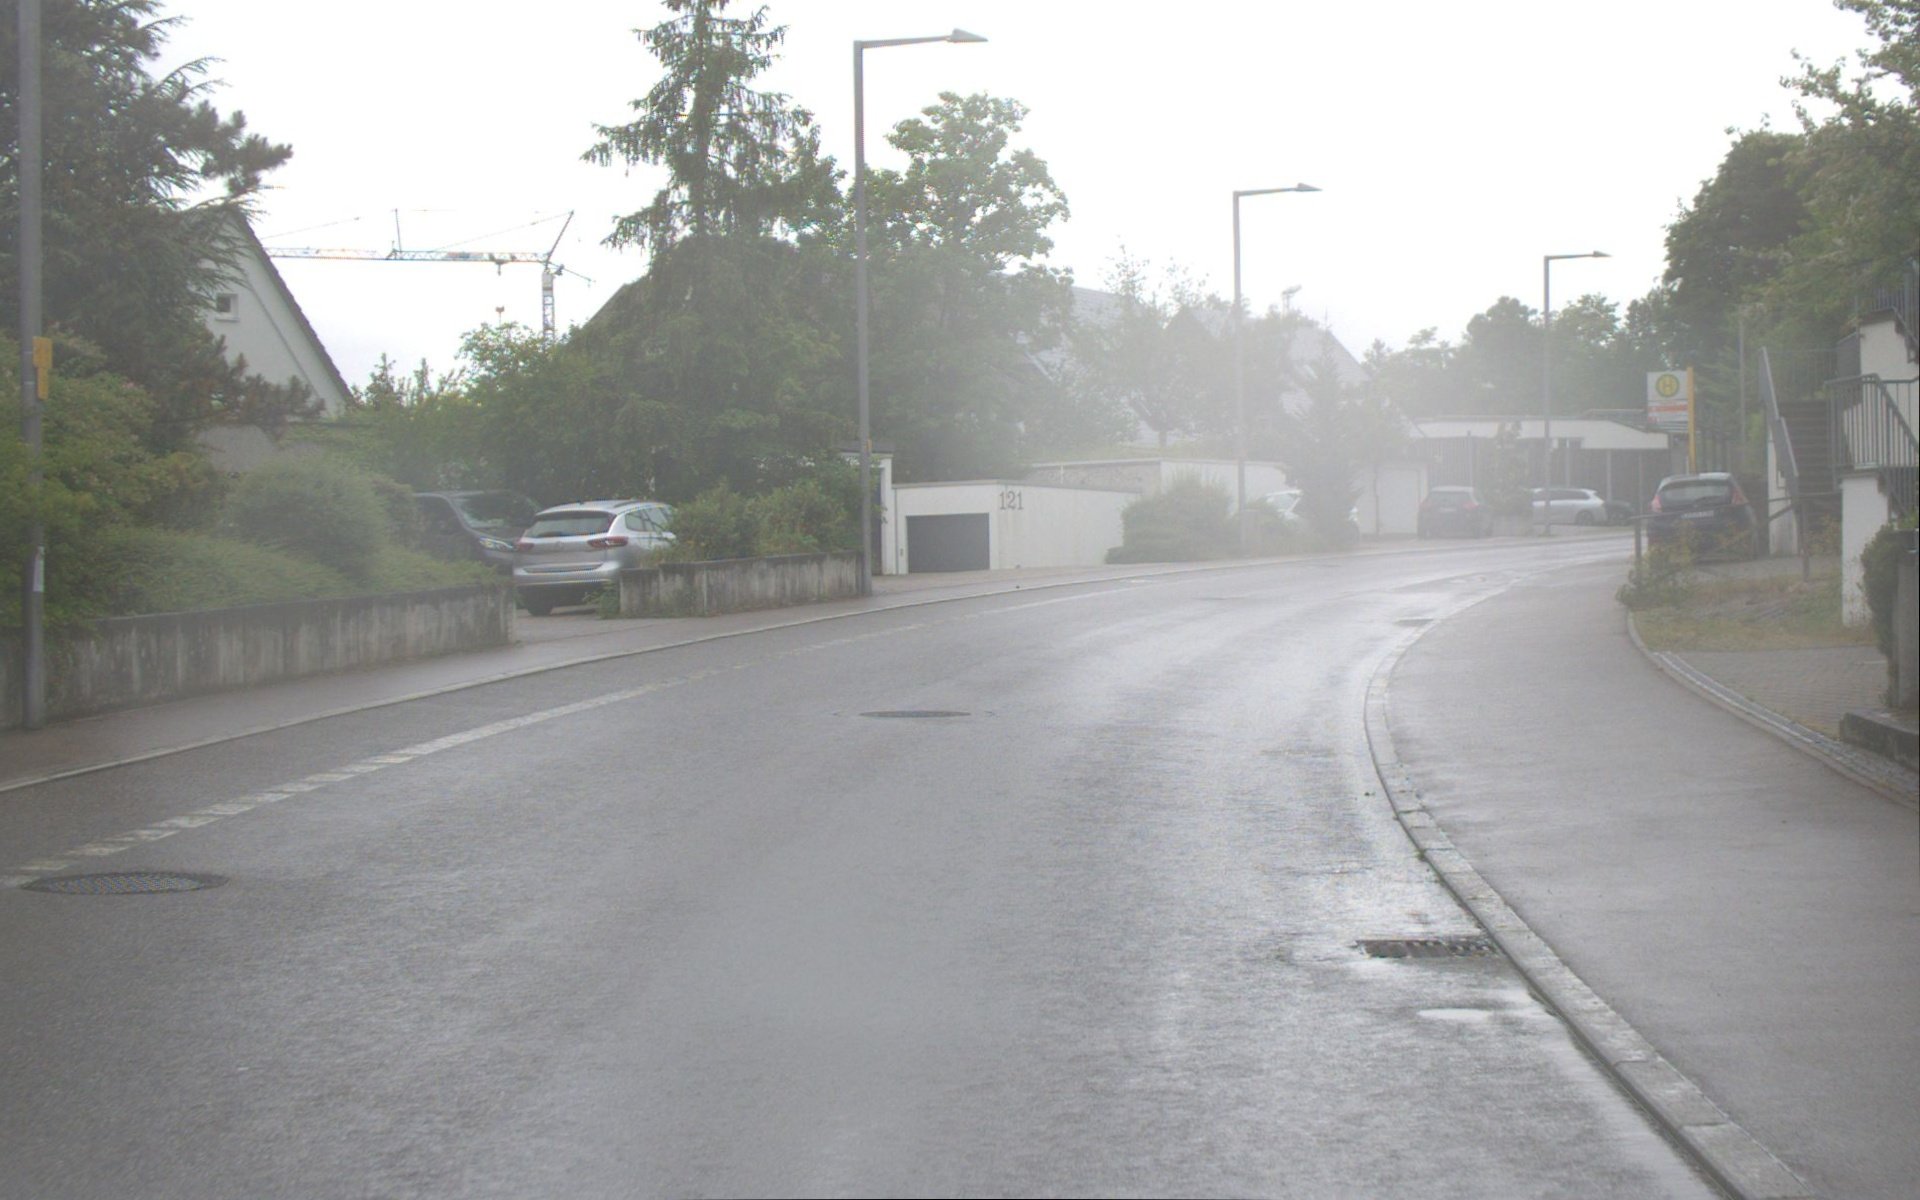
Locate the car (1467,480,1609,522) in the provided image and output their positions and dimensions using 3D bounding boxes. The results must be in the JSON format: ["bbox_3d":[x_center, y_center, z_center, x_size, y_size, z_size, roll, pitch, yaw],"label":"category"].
[{"bbox_3d":[20.062,-3.428,119.352,4.517,1.437,1.762,0,2,-14],"label":"car"}]

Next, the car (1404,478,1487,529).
[{"bbox_3d":[13.887,-2.776,98.216,1.835,1.401,4.257,0,2,15],"label":"car"}]

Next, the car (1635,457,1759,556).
[{"bbox_3d":[12.136,-1.548,56.463,1.706,1.449,4.018,-4,1,15],"label":"car"}]

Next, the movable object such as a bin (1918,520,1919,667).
[{"bbox_3d":[5.323,0.097,17.988,0.492,1.043,0.576,-1,1,6],"label":"movable object such as a bin"}]

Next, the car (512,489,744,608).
[{"bbox_3d":[-4.524,-0.743,47.386,1.736,1.546,3.997,-1,2,17],"label":"car"}]

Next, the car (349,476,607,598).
[{"bbox_3d":[-7.624,-0.982,54.208,1.995,1.831,3.997,-3,2,-44],"label":"car"}]

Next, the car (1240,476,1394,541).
[{"bbox_3d":[8.911,-2.287,85.439,1.709,1.548,4.379,1,2,39],"label":"car"}]
